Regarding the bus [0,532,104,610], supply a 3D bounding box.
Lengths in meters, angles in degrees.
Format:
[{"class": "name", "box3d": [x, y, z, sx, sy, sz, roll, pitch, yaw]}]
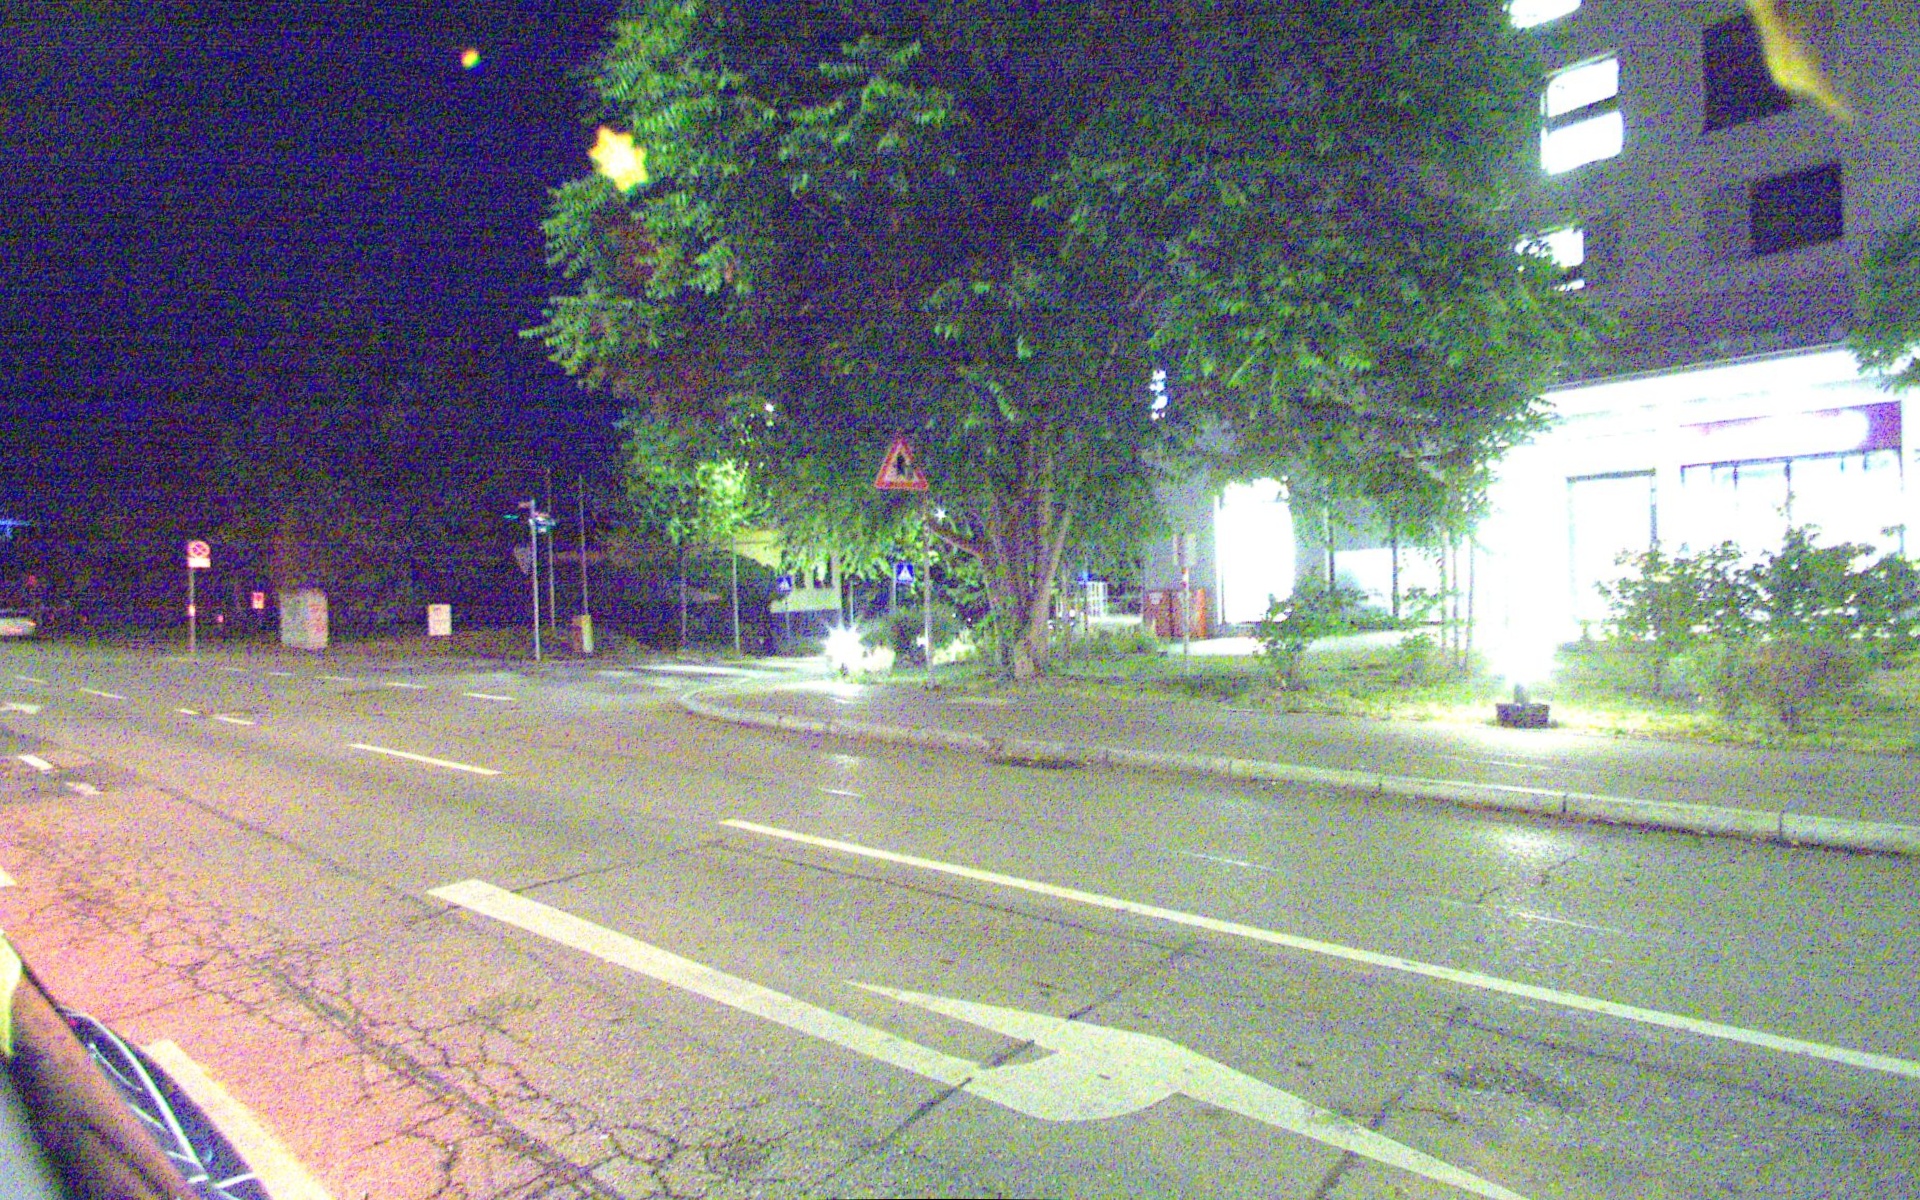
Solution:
[{"class": "bus", "box3d": [-88.307, -2.603, 98.073, 14.776, 6.990, 6.056, -1, 0, 41]}]

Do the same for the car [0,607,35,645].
[{"class": "car", "box3d": [-43.227, 1.157, 45.615, 3.997, 1.604, 1.783, -1, 0, 40]}]
